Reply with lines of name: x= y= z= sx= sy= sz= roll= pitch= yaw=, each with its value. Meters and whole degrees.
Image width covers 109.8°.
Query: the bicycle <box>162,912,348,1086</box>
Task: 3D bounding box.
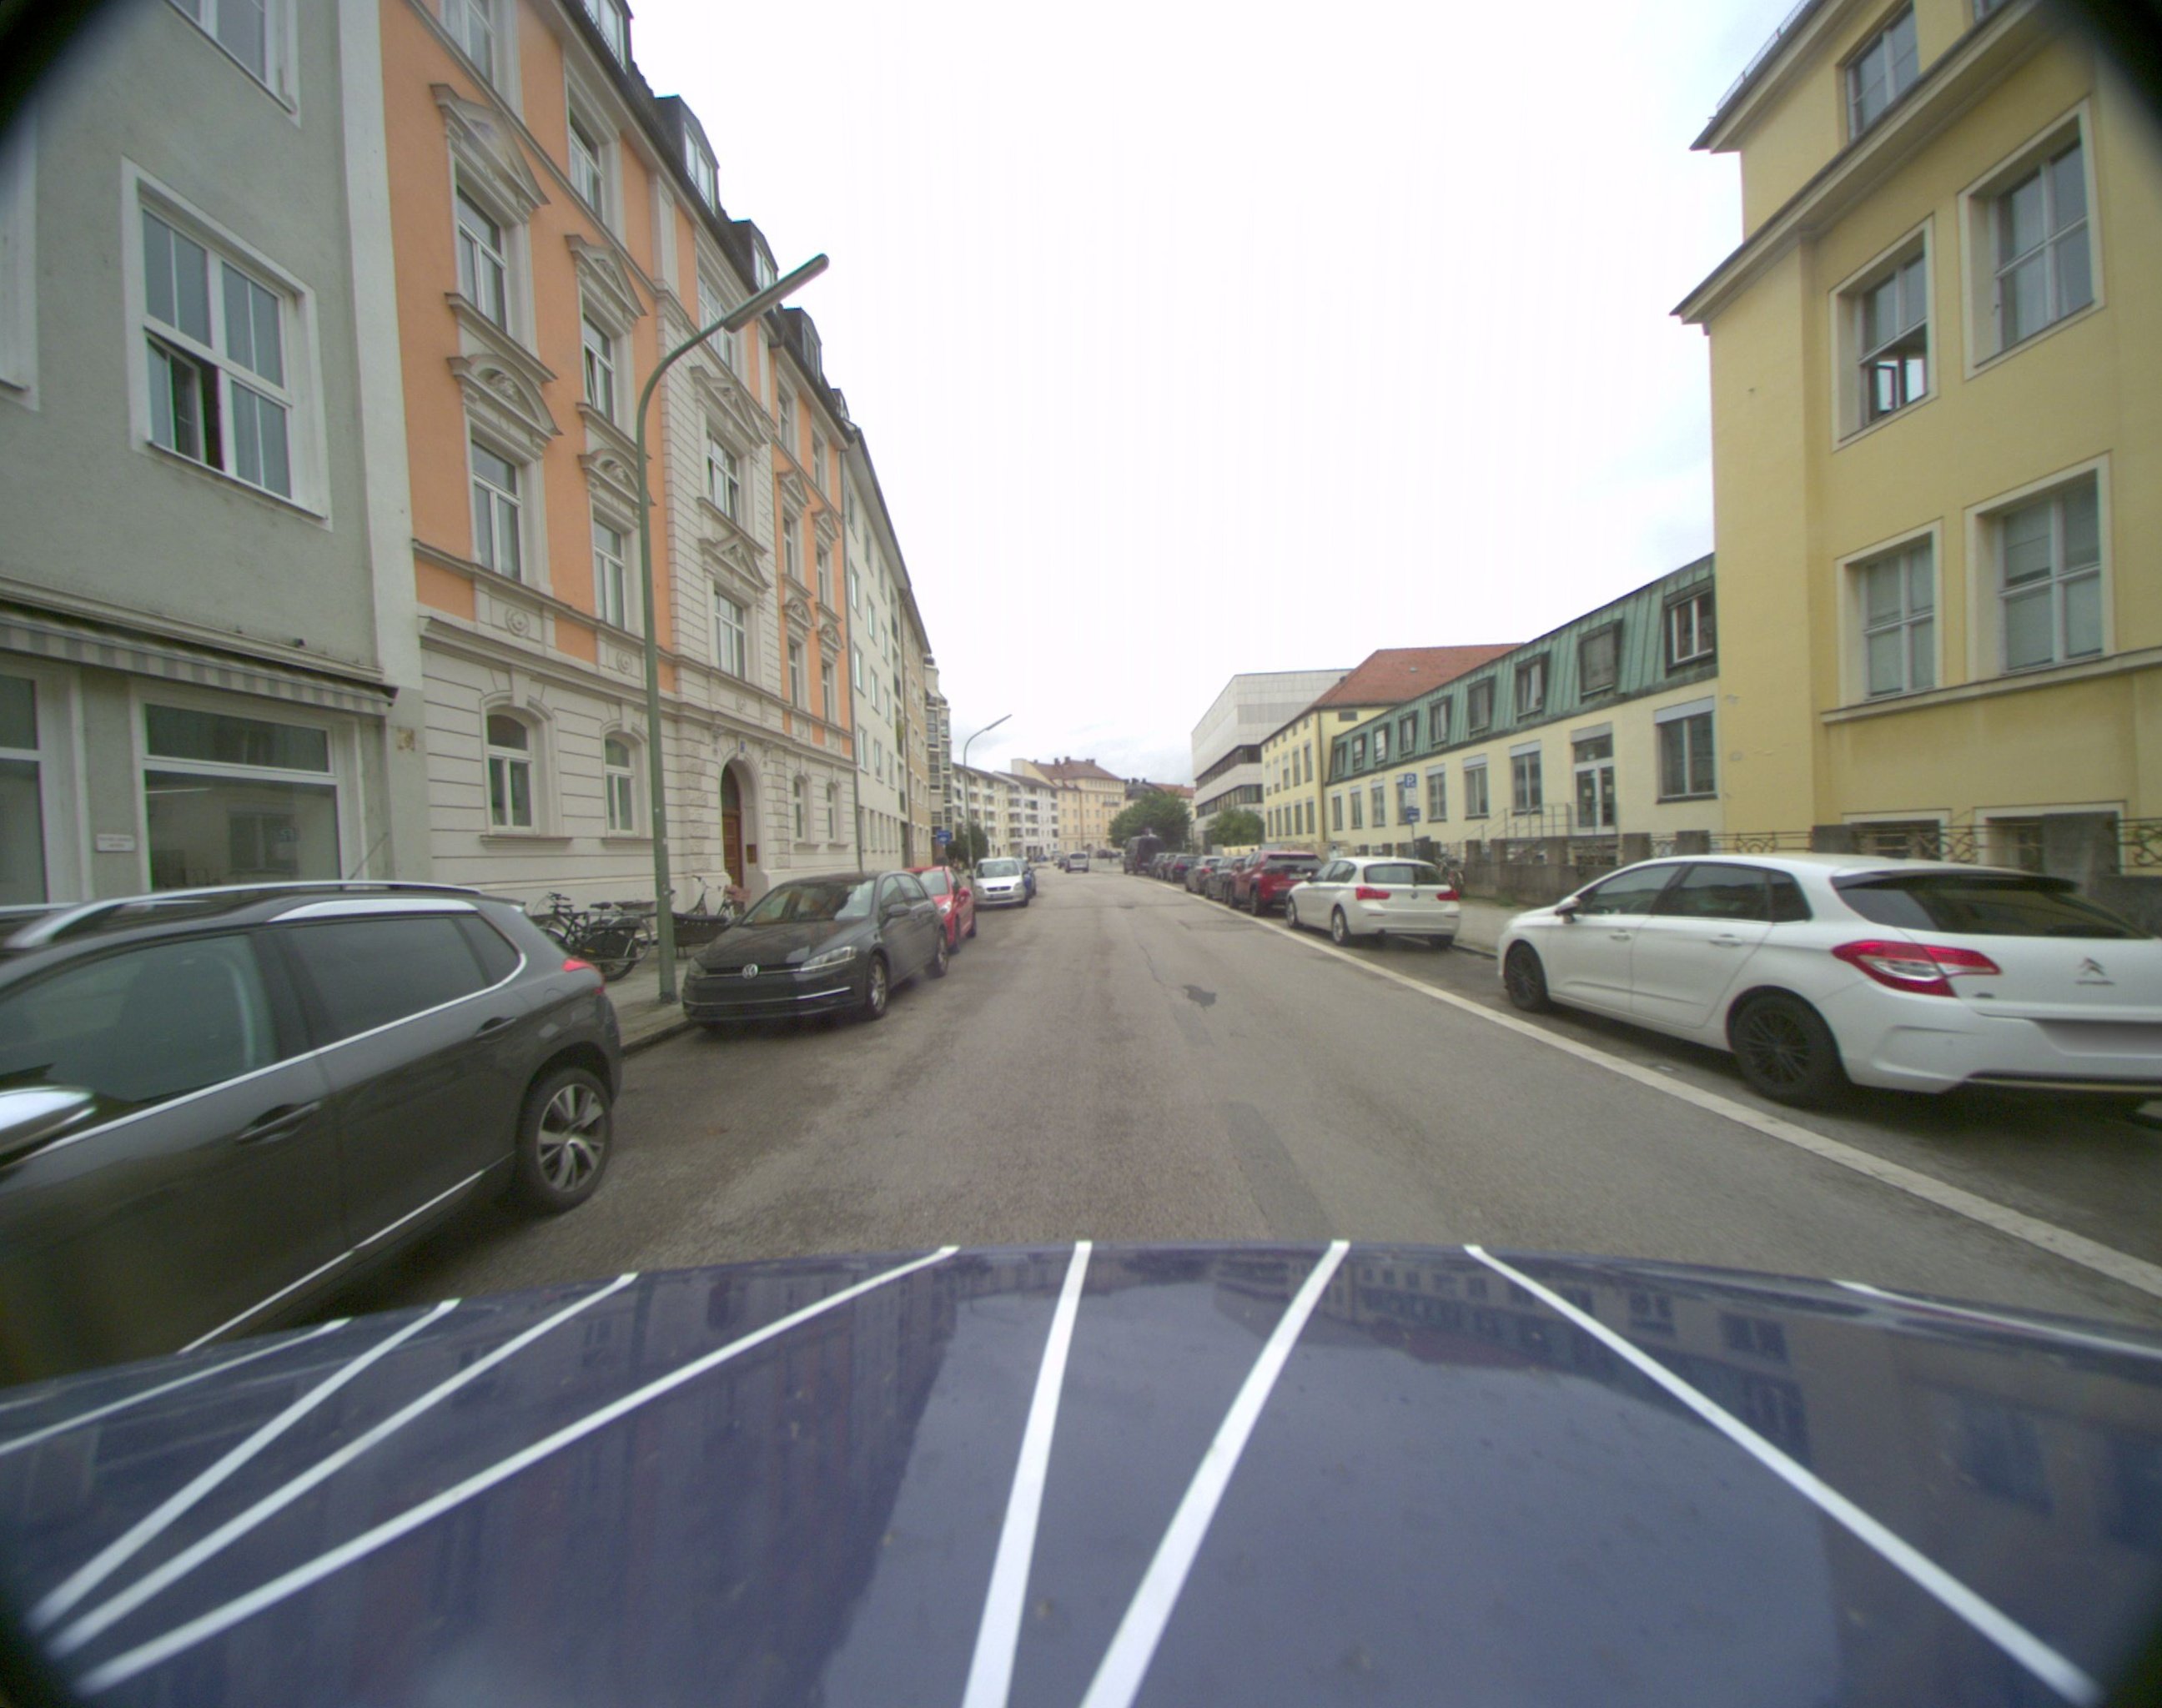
bicycle: x=-7.030 y=1.179 z=6.539 sx=0.248 sy=1.248 sz=1.233 roll=-2 pitch=1 yaw=-3

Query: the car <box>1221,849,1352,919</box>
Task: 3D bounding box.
car: x=4.913 y=0.640 z=18.886 sx=1.963 sy=1.473 sz=4.528 roll=0 pitch=1 yaw=-1

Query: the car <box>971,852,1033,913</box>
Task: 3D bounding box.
car: x=-2.549 y=0.839 z=24.450 sx=1.686 sy=1.664 sz=3.802 roll=-5 pitch=1 yaw=-6

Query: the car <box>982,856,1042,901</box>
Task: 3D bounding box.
car: x=-2.624 y=0.894 z=29.744 sx=1.746 sy=1.486 sz=4.548 roll=-3 pitch=1 yaw=1

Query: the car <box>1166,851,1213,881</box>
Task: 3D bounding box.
car: x=5.562 y=0.565 z=39.373 sx=1.918 sy=1.473 sz=4.532 roll=0 pitch=0 yaw=2

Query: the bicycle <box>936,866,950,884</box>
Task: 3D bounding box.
bicycle: x=-8.822 y=1.328 z=48.653 sx=0.678 sy=1.027 sz=1.752 roll=-2 pitch=1 yaw=-5

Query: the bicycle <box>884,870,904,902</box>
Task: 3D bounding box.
bicycle: x=-7.021 y=1.186 z=28.581 sx=0.530 sy=1.065 sz=1.999 roll=-3 pitch=1 yaw=-9

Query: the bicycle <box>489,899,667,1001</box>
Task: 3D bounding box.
bicycle: x=-6.572 y=1.209 z=10.024 sx=0.620 sy=1.083 sz=1.818 roll=-1 pitch=1 yaw=36

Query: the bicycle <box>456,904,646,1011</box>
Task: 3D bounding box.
bicycle: x=-6.521 y=1.230 z=9.427 sx=1.851 sy=1.061 sz=0.514 roll=-3 pitch=1 yaw=-41

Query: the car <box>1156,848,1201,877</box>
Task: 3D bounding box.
car: x=5.586 y=0.481 z=44.135 sx=1.918 sy=1.578 sz=4.351 roll=1 pitch=0 yaw=-2

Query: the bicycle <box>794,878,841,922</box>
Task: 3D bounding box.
bicycle: x=-6.861 y=1.171 z=19.859 sx=0.597 sy=1.018 sz=1.817 roll=-2 pitch=0 yaw=-2

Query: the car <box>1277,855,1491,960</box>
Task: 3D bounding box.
car: x=4.934 y=0.771 z=13.196 sx=1.798 sy=1.421 sz=4.663 roll=0 pitch=1 yaw=0

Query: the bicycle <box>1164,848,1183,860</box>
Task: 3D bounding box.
bicycle: x=9.364 y=-0.007 z=76.839 sx=1.815 sy=1.145 sz=0.519 roll=-3 pitch=1 yaw=-1

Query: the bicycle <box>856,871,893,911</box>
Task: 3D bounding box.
bicycle: x=-6.253 y=1.097 z=23.115 sx=0.725 sy=1.106 sz=1.993 roll=-3 pitch=1 yaw=-7

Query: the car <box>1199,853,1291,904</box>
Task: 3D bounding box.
car: x=4.946 y=0.683 z=23.547 sx=1.754 sy=1.397 sz=4.353 roll=0 pitch=1 yaw=-2

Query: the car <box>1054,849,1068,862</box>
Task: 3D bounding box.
car: x=-2.815 y=0.162 z=107.386 sx=1.797 sy=1.663 sz=4.148 roll=-3 pitch=1 yaw=-2

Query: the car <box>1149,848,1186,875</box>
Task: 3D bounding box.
car: x=5.480 y=0.433 z=48.641 sx=1.885 sy=1.627 sz=4.348 roll=0 pitch=0 yaw=-1

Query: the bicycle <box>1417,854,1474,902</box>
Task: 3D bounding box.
bicycle: x=9.760 y=0.611 z=20.420 sx=0.536 sy=1.178 sz=2.106 roll=-3 pitch=1 yaw=1

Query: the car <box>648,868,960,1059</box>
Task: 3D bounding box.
car: x=-2.706 y=0.979 z=8.650 sx=1.691 sy=1.394 sz=4.364 roll=-3 pitch=1 yaw=3

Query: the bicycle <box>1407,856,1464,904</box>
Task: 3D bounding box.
bicycle: x=9.398 y=0.659 z=20.254 sx=0.536 sy=1.141 sz=2.106 roll=-3 pitch=1 yaw=1

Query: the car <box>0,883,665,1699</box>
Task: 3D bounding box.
car: x=-3.158 y=1.019 z=1.993 sx=1.711 sy=1.583 sz=4.360 roll=-4 pitch=0 yaw=-2

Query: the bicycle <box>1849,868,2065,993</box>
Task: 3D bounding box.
bicycle: x=8.836 y=0.722 z=7.770 sx=0.538 sy=1.056 sz=1.641 roll=-3 pitch=1 yaw=11

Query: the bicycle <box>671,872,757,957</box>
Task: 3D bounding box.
bicycle: x=-6.781 y=1.071 z=14.167 sx=0.597 sy=1.377 sz=2.091 roll=-2 pitch=0 yaw=-2

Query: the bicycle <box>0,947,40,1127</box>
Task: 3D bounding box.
bicycle: x=-7.384 y=1.246 z=4.290 sx=0.396 sy=1.170 sz=1.815 roll=-3 pitch=1 yaw=1

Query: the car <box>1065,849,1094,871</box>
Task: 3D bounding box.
car: x=-0.189 y=0.506 z=67.139 sx=1.921 sy=1.838 sz=5.317 roll=-2 pitch=1 yaw=-6

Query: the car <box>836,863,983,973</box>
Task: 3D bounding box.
car: x=-2.891 y=1.005 z=13.697 sx=1.691 sy=1.491 sz=4.146 roll=-5 pitch=0 yaw=-2

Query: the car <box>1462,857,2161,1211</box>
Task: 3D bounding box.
car: x=4.859 y=0.810 z=5.616 sx=1.789 sy=1.423 sz=4.651 roll=2 pitch=1 yaw=1

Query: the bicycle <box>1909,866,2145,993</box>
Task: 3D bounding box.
bicycle: x=9.365 y=0.695 z=7.627 sx=0.538 sy=1.056 sz=1.641 roll=-3 pitch=1 yaw=11

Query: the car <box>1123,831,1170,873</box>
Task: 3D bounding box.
car: x=4.692 y=-0.160 z=55.172 sx=2.220 sy=2.837 sz=6.192 roll=0 pitch=1 yaw=-7

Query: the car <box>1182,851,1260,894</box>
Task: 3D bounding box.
car: x=5.152 y=0.649 z=28.583 sx=2.019 sy=1.410 sz=4.614 roll=0 pitch=1 yaw=-1

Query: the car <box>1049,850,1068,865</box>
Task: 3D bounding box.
car: x=-2.599 y=0.345 z=85.746 sx=1.666 sy=1.466 sz=3.704 roll=-3 pitch=2 yaw=-9

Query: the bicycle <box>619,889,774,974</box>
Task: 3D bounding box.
bicycle: x=-6.110 y=1.185 z=12.185 sx=2.096 sy=1.132 sz=0.583 roll=-2 pitch=1 yaw=-42
